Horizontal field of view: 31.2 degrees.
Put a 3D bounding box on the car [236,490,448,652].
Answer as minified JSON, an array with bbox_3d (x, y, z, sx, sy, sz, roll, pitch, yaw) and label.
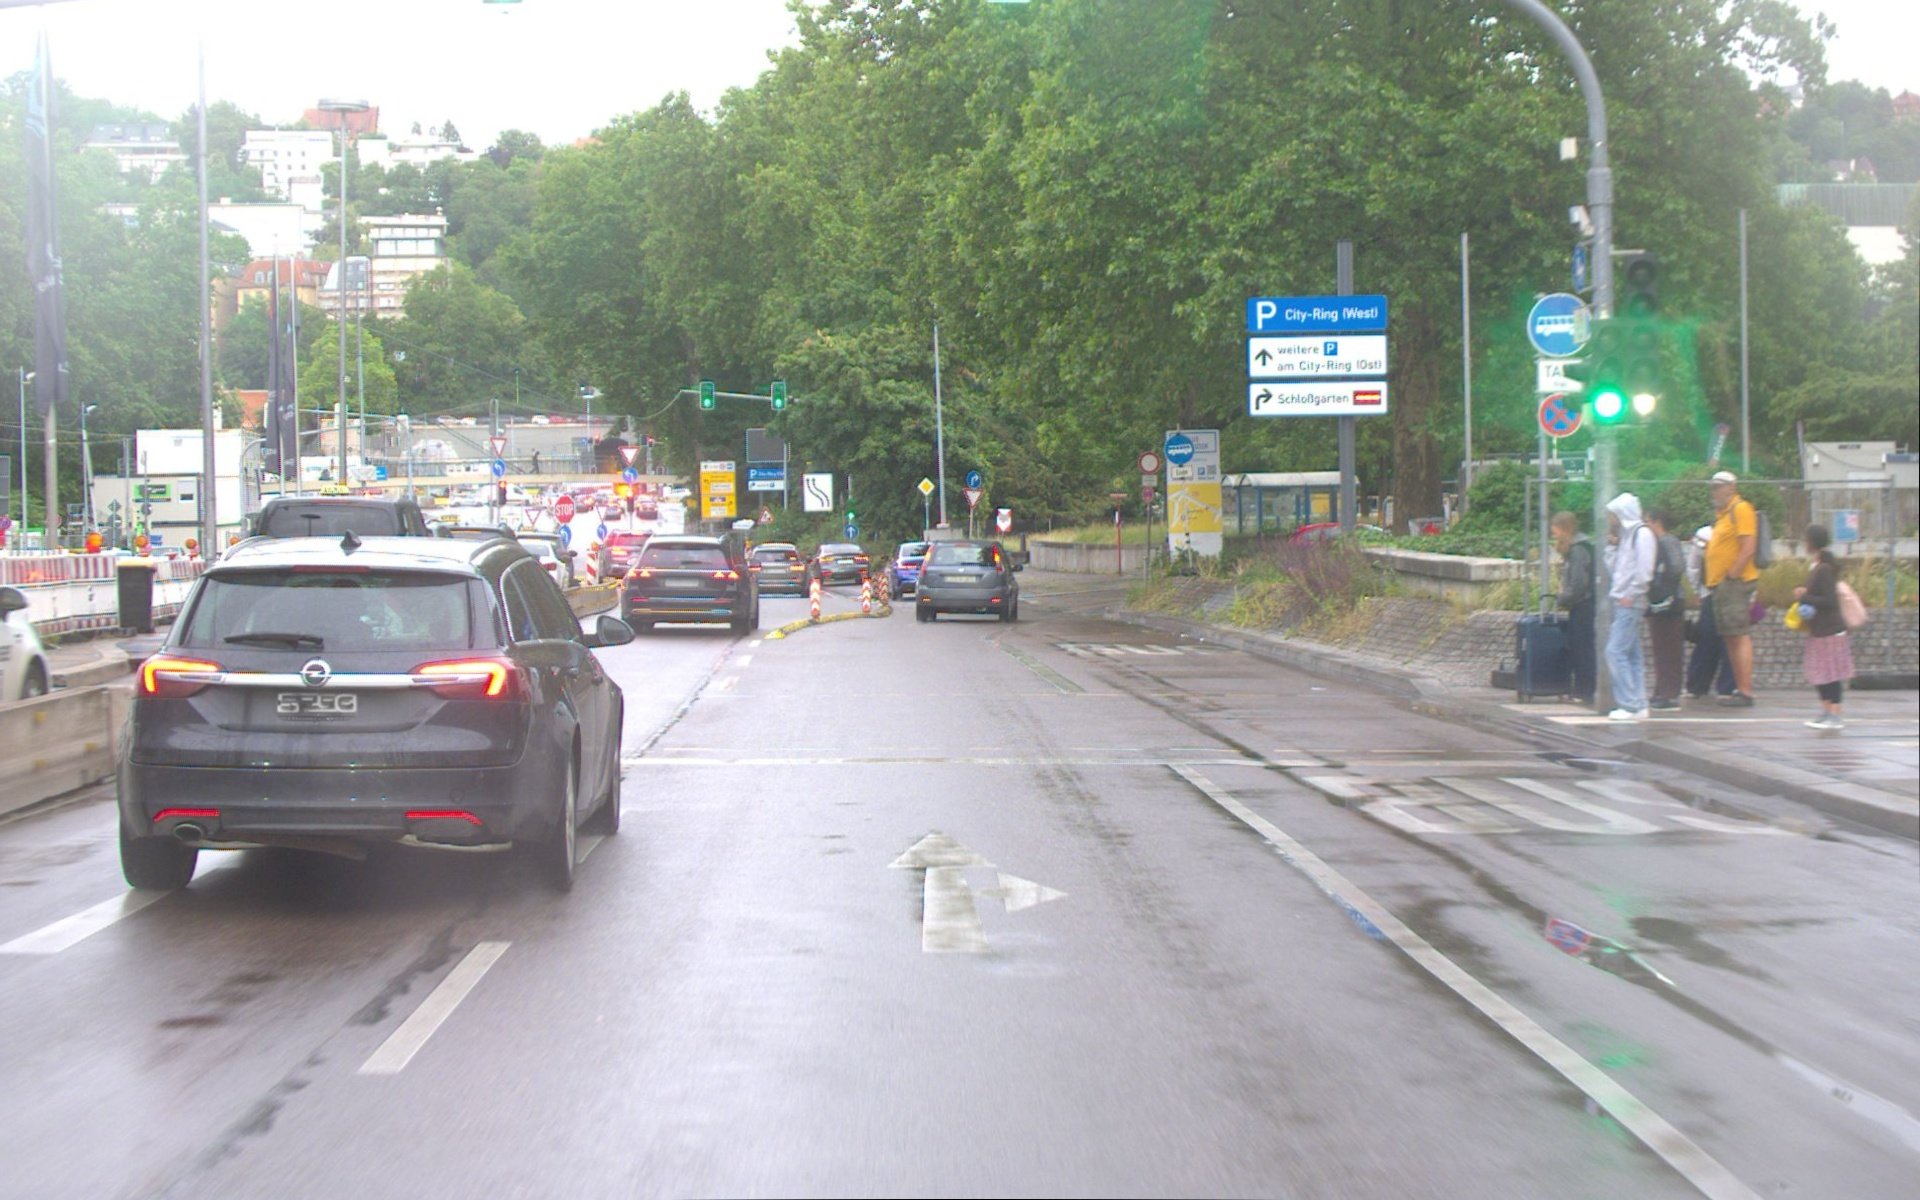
[{"bbox_3d":[-7.456,-0.364,41.924,1.993,1.839,5.063,0,1,-4],"label":"car"}]

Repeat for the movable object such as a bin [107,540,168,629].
[{"bbox_3d":[-10.892,-0.212,45.549,0.670,1.157,0.767,2,1,-7],"label":"movable object such as a bin"}]

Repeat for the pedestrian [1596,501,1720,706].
[{"bbox_3d":[5.840,0.023,28.798,0.875,1.685,0.758,-1,1,0],"label":"pedestrian"}]

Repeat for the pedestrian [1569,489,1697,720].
[{"bbox_3d":[5.340,0.030,27.290,0.745,1.798,0.710,-1,1,-14],"label":"pedestrian"}]

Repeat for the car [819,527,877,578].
[{"bbox_3d":[-3.638,-1.546,111.167,1.634,1.619,3.796,0,1,-5],"label":"car"}]

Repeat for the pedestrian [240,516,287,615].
[{"bbox_3d":[-12.393,-0.609,61.179,0.635,1.747,0.822,1,1,3],"label":"pedestrian"}]

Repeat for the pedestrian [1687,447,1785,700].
[{"bbox_3d":[6.648,-0.230,29.480,0.554,2.138,0.668,-1,1,-14],"label":"pedestrian"}]

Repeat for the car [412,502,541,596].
[{"bbox_3d":[-8.066,-0.851,57.660,1.823,1.506,4.491,0,1,-4],"label":"car"}]

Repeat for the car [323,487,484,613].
[{"bbox_3d":[-7.851,-0.706,48.857,1.823,1.690,4.775,0,1,-4],"label":"car"}]

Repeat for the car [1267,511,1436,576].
[{"bbox_3d":[9.297,-1.351,81.679,3.615,1.500,1.730,1,1,39],"label":"car"}]

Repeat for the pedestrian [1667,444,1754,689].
[{"bbox_3d":[6.652,-0.301,30.500,0.709,2.138,0.721,-1,1,11],"label":"pedestrian"}]

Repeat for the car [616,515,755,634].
[{"bbox_3d":[-4.036,-0.407,51.108,1.830,1.680,4.134,-1,1,-2],"label":"car"}]

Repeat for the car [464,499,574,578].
[{"bbox_3d":[-9.359,-1.310,73.263,1.993,1.562,4.877,-2,1,-4],"label":"car"}]

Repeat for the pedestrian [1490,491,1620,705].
[{"bbox_3d":[5.213,-0.025,30.160,0.786,1.832,0.951,-1,1,-14],"label":"pedestrian"}]

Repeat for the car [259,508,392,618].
[{"bbox_3d":[-12.178,-0.721,66.270,1.993,2.007,5.371,0,1,-5],"label":"car"}]

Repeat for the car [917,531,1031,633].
[{"bbox_3d":[0.212,-0.338,60.543,1.851,1.711,4.000,1,1,-2],"label":"car"}]

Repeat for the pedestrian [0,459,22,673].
[{"bbox_3d":[-8.922,-0.293,30.349,1.005,1.880,0.682,0,1,23],"label":"pedestrian"}]

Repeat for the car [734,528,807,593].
[{"bbox_3d":[-5.192,-1.088,94.340,1.904,1.711,4.000,1,1,-2],"label":"car"}]

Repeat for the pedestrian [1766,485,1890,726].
[{"bbox_3d":[6.621,0.034,26.235,0.539,1.798,0.758,-1,1,-28],"label":"pedestrian"}]

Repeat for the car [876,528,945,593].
[{"bbox_3d":[-1.229,-0.988,85.406,1.674,1.576,3.240,1,1,0],"label":"car"}]

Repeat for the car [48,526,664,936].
[{"bbox_3d":[-2.423,0.431,15.047,1.877,1.503,4.852,0,1,-1],"label":"car"}]

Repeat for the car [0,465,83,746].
[{"bbox_3d":[-6.643,0.056,20.138,1.786,1.680,4.667,-1,1,0],"label":"car"}]

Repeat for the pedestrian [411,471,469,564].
[{"bbox_3d":[-11.319,-1.802,74.817,1.025,2.007,0.836,0,1,10],"label":"pedestrian"}]

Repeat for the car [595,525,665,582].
[{"bbox_3d":[-10.910,-1.530,113.442,1.993,1.820,4.001,0,1,-10],"label":"car"}]
